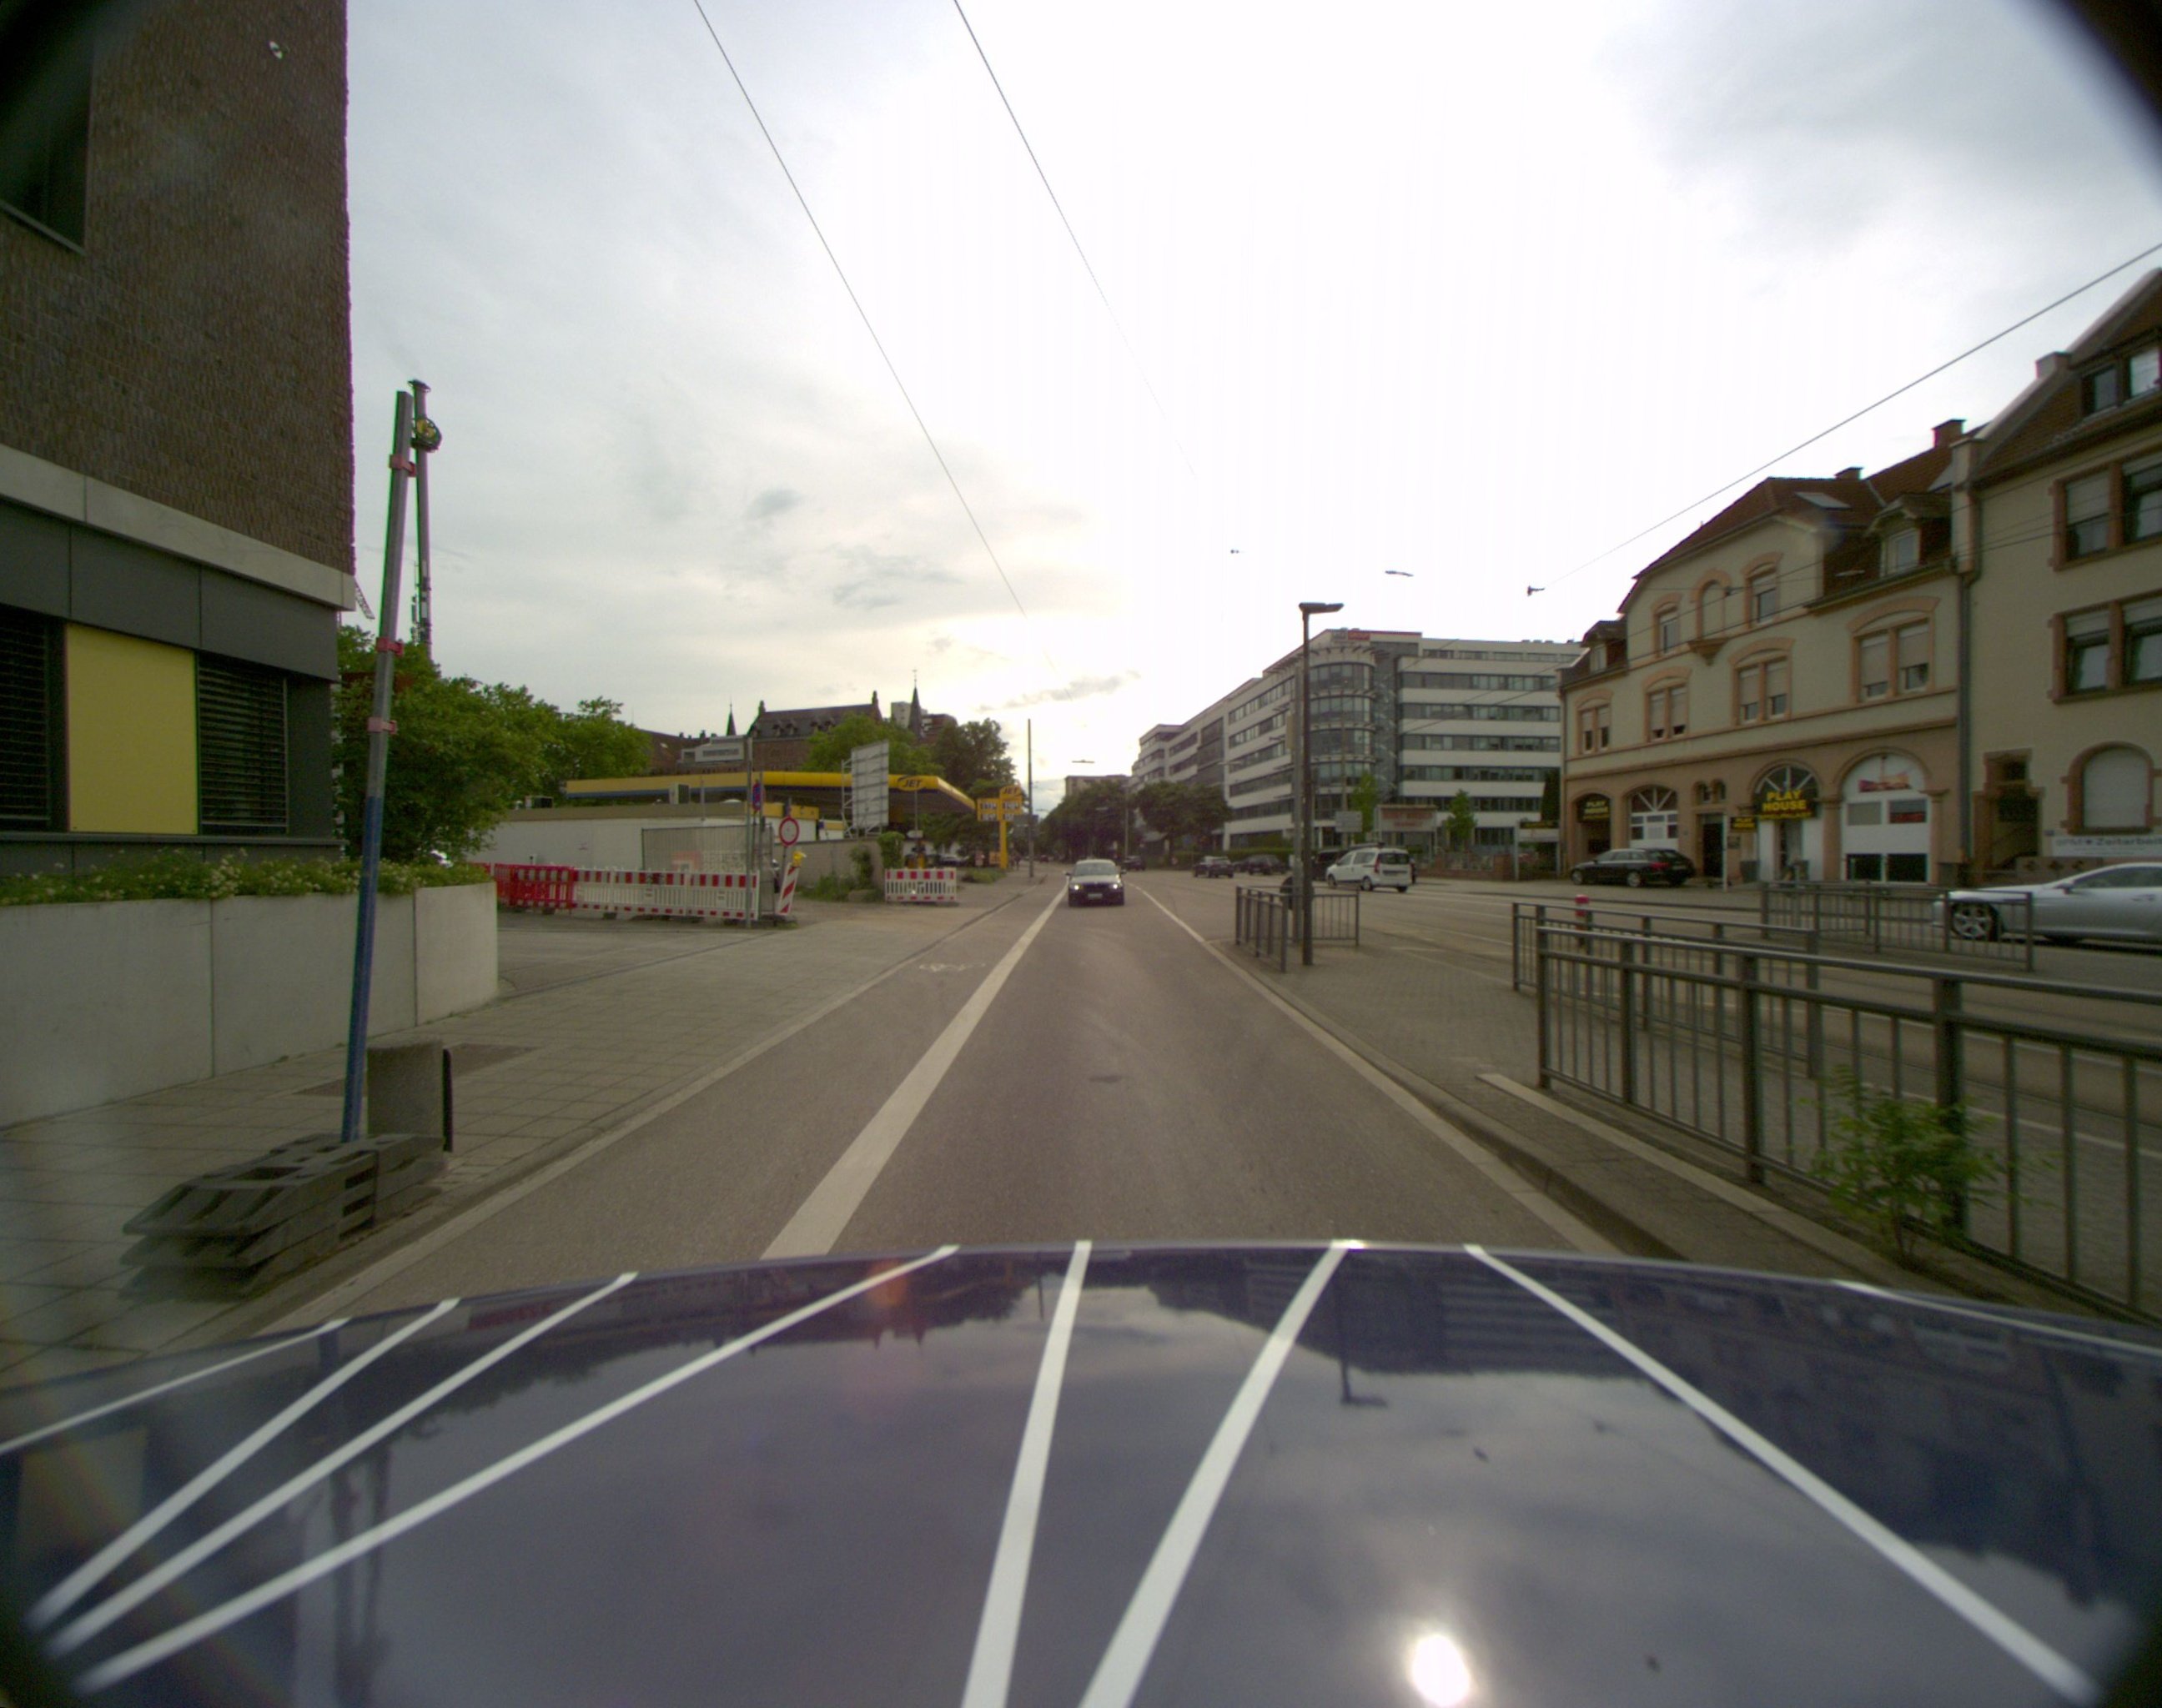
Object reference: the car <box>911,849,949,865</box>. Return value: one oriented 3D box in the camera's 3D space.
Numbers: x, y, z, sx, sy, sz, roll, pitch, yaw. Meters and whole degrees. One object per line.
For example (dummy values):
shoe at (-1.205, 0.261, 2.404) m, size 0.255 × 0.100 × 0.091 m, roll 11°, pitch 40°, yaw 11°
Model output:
car at (-17.347, 0.300, 87.325) m, size 3.999 × 1.657 × 1.999 m, roll -2°, pitch 1°, yaw -6°

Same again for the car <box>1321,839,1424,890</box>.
car at (12.064, 0.372, 31.798) m, size 1.891 × 1.977 × 4.520 m, roll 0°, pitch 1°, yaw -11°

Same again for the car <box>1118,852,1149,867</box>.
car at (5.212, 0.505, 75.749) m, size 1.911 × 1.464 × 4.815 m, roll 1°, pitch 0°, yaw -10°

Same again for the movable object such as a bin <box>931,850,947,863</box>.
movable object such as a bin at (-14.821, 0.299, 79.201) m, size 1.118 × 1.312 × 1.162 m, roll -1°, pitch 1°, yaw 28°

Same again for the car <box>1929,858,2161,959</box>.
car at (15.167, 0.737, 10.819) m, size 1.755 × 1.291 × 3.831 m, roll 0°, pitch 1°, yaw -4°

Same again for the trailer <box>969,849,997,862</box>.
trailer at (-11.617, 0.167, 90.036) m, size 3.292 × 1.523 × 1.772 m, roll 1°, pitch 3°, yaw -6°

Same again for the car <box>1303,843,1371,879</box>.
car at (15.625, 0.402, 46.647) m, size 1.992 × 2.002 × 5.182 m, roll -2°, pitch 1°, yaw -5°

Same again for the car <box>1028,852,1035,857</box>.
car at (-16.082, 0.211, 247.667) m, size 1.802 × 1.537 × 4.476 m, roll -1°, pitch 1°, yaw -9°

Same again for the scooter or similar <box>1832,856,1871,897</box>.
scooter or similar at (21.425, 0.612, 21.131) m, size 1.180 × 1.095 × 0.526 m, roll -2°, pitch 1°, yaw -33°

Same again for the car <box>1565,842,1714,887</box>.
car at (21.786, 0.356, 29.949) m, size 1.999 × 1.484 × 4.900 m, roll -5°, pitch 1°, yaw -4°

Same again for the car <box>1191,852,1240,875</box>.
car at (9.025, 0.618, 51.360) m, size 1.888 × 1.420 × 4.420 m, roll 0°, pitch 1°, yaw -10°

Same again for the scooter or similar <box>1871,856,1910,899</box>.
scooter or similar at (21.657, 0.616, 20.324) m, size 1.180 × 1.095 × 0.526 m, roll -2°, pitch 1°, yaw -33°

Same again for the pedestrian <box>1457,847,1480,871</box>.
pedestrian at (32.447, 0.390, 63.646) m, size 1.217 × 2.002 × 1.186 m, roll 0°, pitch 1°, yaw -19°

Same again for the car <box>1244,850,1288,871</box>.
car at (13.786, 0.479, 56.385) m, size 1.790 × 1.521 × 4.150 m, roll 2°, pitch 1°, yaw 34°

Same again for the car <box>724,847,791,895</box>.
car at (-12.110, 0.568, 28.283) m, size 2.003 × 1.628 × 3.940 m, roll 0°, pitch 1°, yaw -27°

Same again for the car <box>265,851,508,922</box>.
car at (-15.874, 0.657, 17.756) m, size 1.767 × 1.410 × 4.346 m, roll 0°, pitch 1°, yaw -1°

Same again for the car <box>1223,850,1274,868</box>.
car at (13.972, 0.408, 63.475) m, size 3.978 × 1.443 × 1.819 m, roll 0°, pitch 1°, yaw 20°

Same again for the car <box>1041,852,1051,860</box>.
car at (-8.381, 0.427, 179.569) m, size 1.848 × 1.714 × 4.403 m, roll -1°, pitch 1°, yaw -10°

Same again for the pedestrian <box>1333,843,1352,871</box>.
pedestrian at (17.624, 0.187, 51.224) m, size 0.806 × 1.815 × 1.059 m, roll -2°, pitch 1°, yaw -3°

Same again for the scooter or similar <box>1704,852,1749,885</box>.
scooter or similar at (22.653, 0.505, 26.687) m, size 1.178 × 1.095 × 0.527 m, roll -3°, pitch 1°, yaw -8°

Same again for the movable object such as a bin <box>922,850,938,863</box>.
movable object such as a bin at (-15.874, 0.292, 79.700) m, size 1.118 × 1.351 × 1.162 m, roll -1°, pitch 1°, yaw 28°

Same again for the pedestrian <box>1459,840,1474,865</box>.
pedestrian at (27.169, -0.126, 53.590) m, size 0.636 × 1.764 × 0.761 m, roll -1°, pitch 1°, yaw 0°

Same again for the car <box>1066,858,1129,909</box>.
car at (0.538, 0.865, 24.239) m, size 1.786 × 1.361 × 4.113 m, roll -1°, pitch 1°, yaw 1°

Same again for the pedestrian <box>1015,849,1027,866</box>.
pedestrian at (-6.286, 0.372, 79.800) m, size 0.871 × 1.738 × 0.848 m, roll 2°, pitch 1°, yaw -32°
